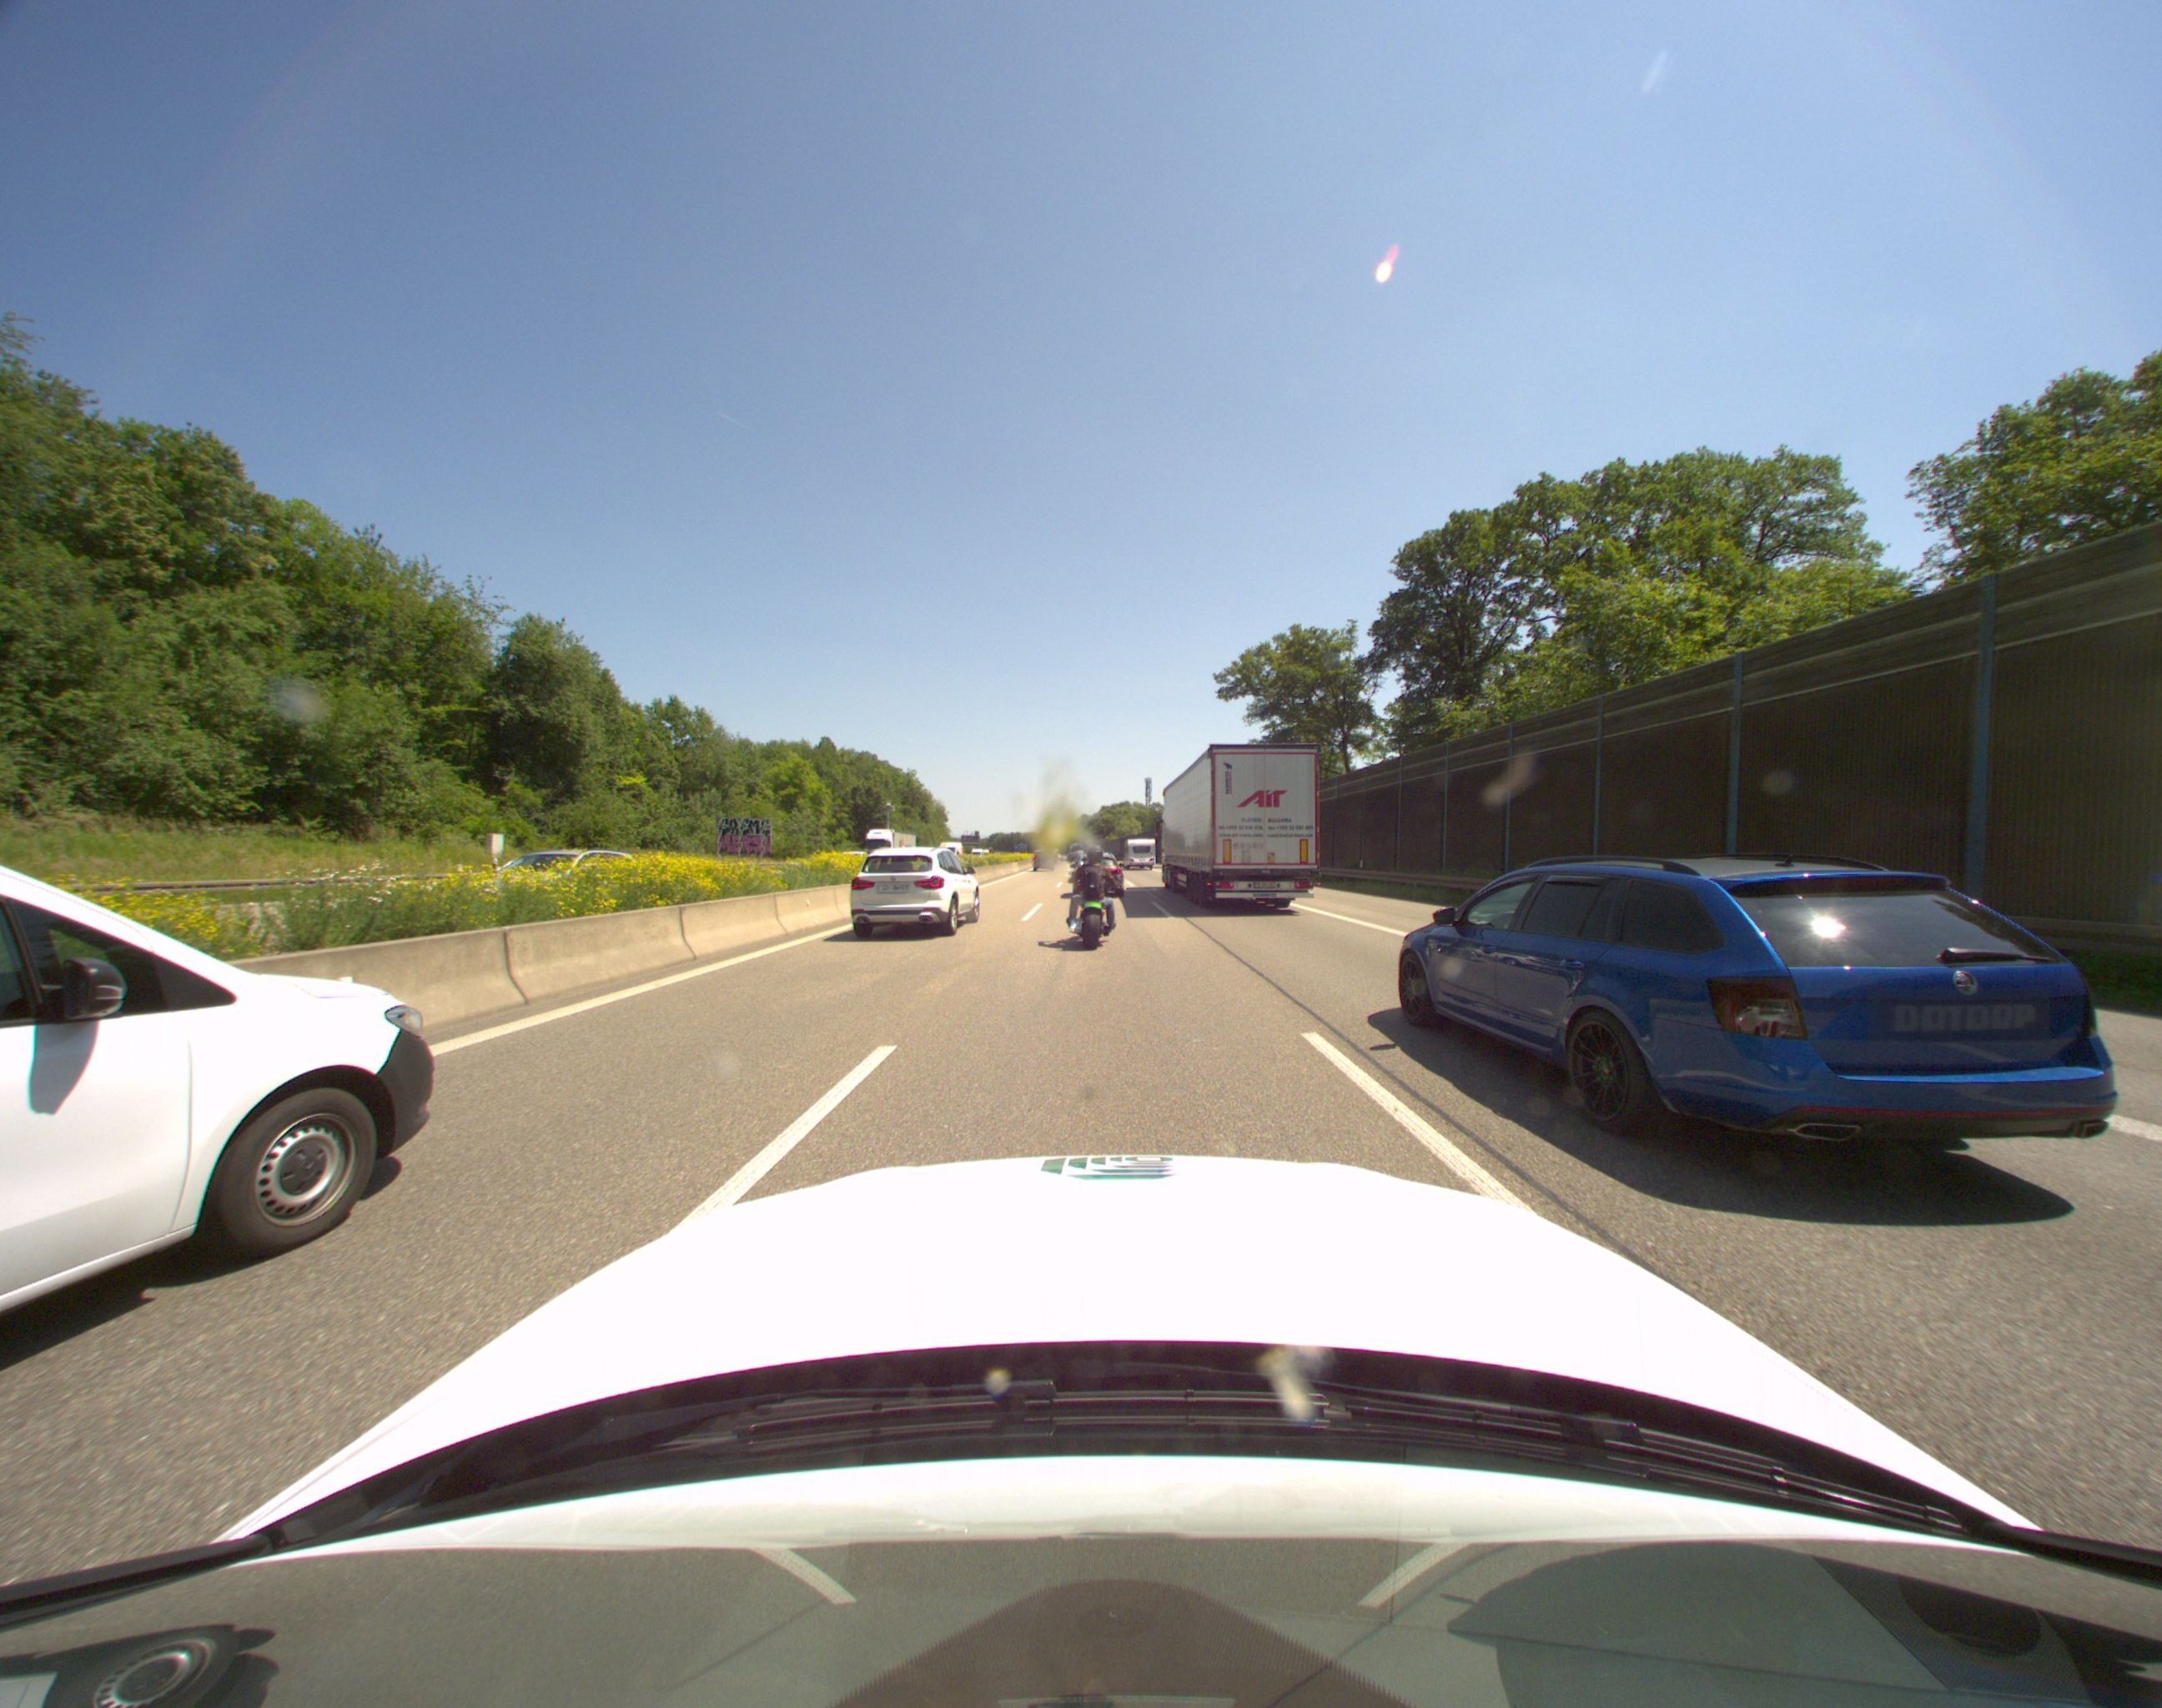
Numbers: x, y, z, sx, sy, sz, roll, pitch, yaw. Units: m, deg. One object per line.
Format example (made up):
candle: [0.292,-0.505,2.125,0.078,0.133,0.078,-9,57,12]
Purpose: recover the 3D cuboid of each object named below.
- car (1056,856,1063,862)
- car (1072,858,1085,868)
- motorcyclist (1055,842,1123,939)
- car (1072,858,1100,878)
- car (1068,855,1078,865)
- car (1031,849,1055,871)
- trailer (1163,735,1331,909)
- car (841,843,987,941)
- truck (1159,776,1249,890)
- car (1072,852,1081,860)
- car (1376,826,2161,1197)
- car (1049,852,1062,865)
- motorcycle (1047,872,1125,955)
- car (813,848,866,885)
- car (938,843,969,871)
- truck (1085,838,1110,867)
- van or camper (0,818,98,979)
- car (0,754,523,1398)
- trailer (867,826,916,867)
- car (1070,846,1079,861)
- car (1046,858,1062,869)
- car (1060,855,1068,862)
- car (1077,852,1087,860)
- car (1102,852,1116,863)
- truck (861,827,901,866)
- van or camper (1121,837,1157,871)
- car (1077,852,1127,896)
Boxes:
car: [-5.746,1.337,220.288,1.828,1.496,3.738,-1,-1,-4]
car: [-0.411,1.425,128.067,1.987,1.640,3.999,-1,-1,0]
motorcyclist: [0.167,0.575,13.393,0.895,1.475,1.876,-1,-1,7]
car: [0.346,1.031,60.654,1.987,1.430,3.846,-1,-1,0]
car: [-1.583,1.154,158.875,1.907,2.014,3.686,-1,-1,-3]
car: [-3.304,0.583,71.368,1.893,1.874,4.412,-1,-1,0]
trailer: [4.558,-0.730,25.852,2.875,4.038,13.799,-1,0,2]
car: [-3.214,0.679,16.772,1.857,1.694,4.957,-1,0,1]
truck: [4.764,-0.762,32.728,2.875,4.146,5.988,-1,0,2]
car: [-1.051,0.565,199.919,2.102,1.876,3.996,-1,-1,-2]
car: [3.616,0.678,5.548,1.645,1.483,4.482,-1,-1,1]
car: [-3.974,0.690,127.723,1.785,2.014,3.641,-1,-1,0]
motorcycle: [0.152,0.913,13.489,0.959,1.148,2.817,0,0,7]
car: [-13.902,0.746,47.189,1.872,2.014,3.999,-1,-1,0]
car: [-13.525,0.305,86.981,2.061,2.896,7.462,-1,0,0]
truck: [2.861,-0.208,144.022,3.794,4.960,8.939,-1,-1,-3]
van or camper: [-14.353,0.556,9.046,1.686,2.012,4.214,-1,0,2]
car: [-3.931,0.632,2.040,1.758,1.813,4.675,-1,0,1]
trailer: [-21.722,-0.719,94.208,2.918,4.232,13.054,-1,-1,-2]
car: [-1.728,-0.241,213.475,2.128,3.862,8.135,0,0,-2]
car: [-3.604,1.212,107.589,1.987,1.387,3.998,-1,-1,-1]
car: [-3.869,0.928,182.465,1.828,1.496,3.740,-1,-1,-2]
car: [0.255,0.433,194.240,2.103,1.876,3.995,-1,-1,-3]
car: [4.321,0.575,124.976,1.988,1.574,3.997,-1,-1,-1]
truck: [-21.544,-0.737,87.972,2.956,4.107,6.084,-1,-1,-2]
van or camper: [4.956,0.051,70.831,2.676,2.813,6.802,-1,-1,1]
car: [0.737,0.711,28.947,1.656,1.453,3.869,-1,-1,1]
